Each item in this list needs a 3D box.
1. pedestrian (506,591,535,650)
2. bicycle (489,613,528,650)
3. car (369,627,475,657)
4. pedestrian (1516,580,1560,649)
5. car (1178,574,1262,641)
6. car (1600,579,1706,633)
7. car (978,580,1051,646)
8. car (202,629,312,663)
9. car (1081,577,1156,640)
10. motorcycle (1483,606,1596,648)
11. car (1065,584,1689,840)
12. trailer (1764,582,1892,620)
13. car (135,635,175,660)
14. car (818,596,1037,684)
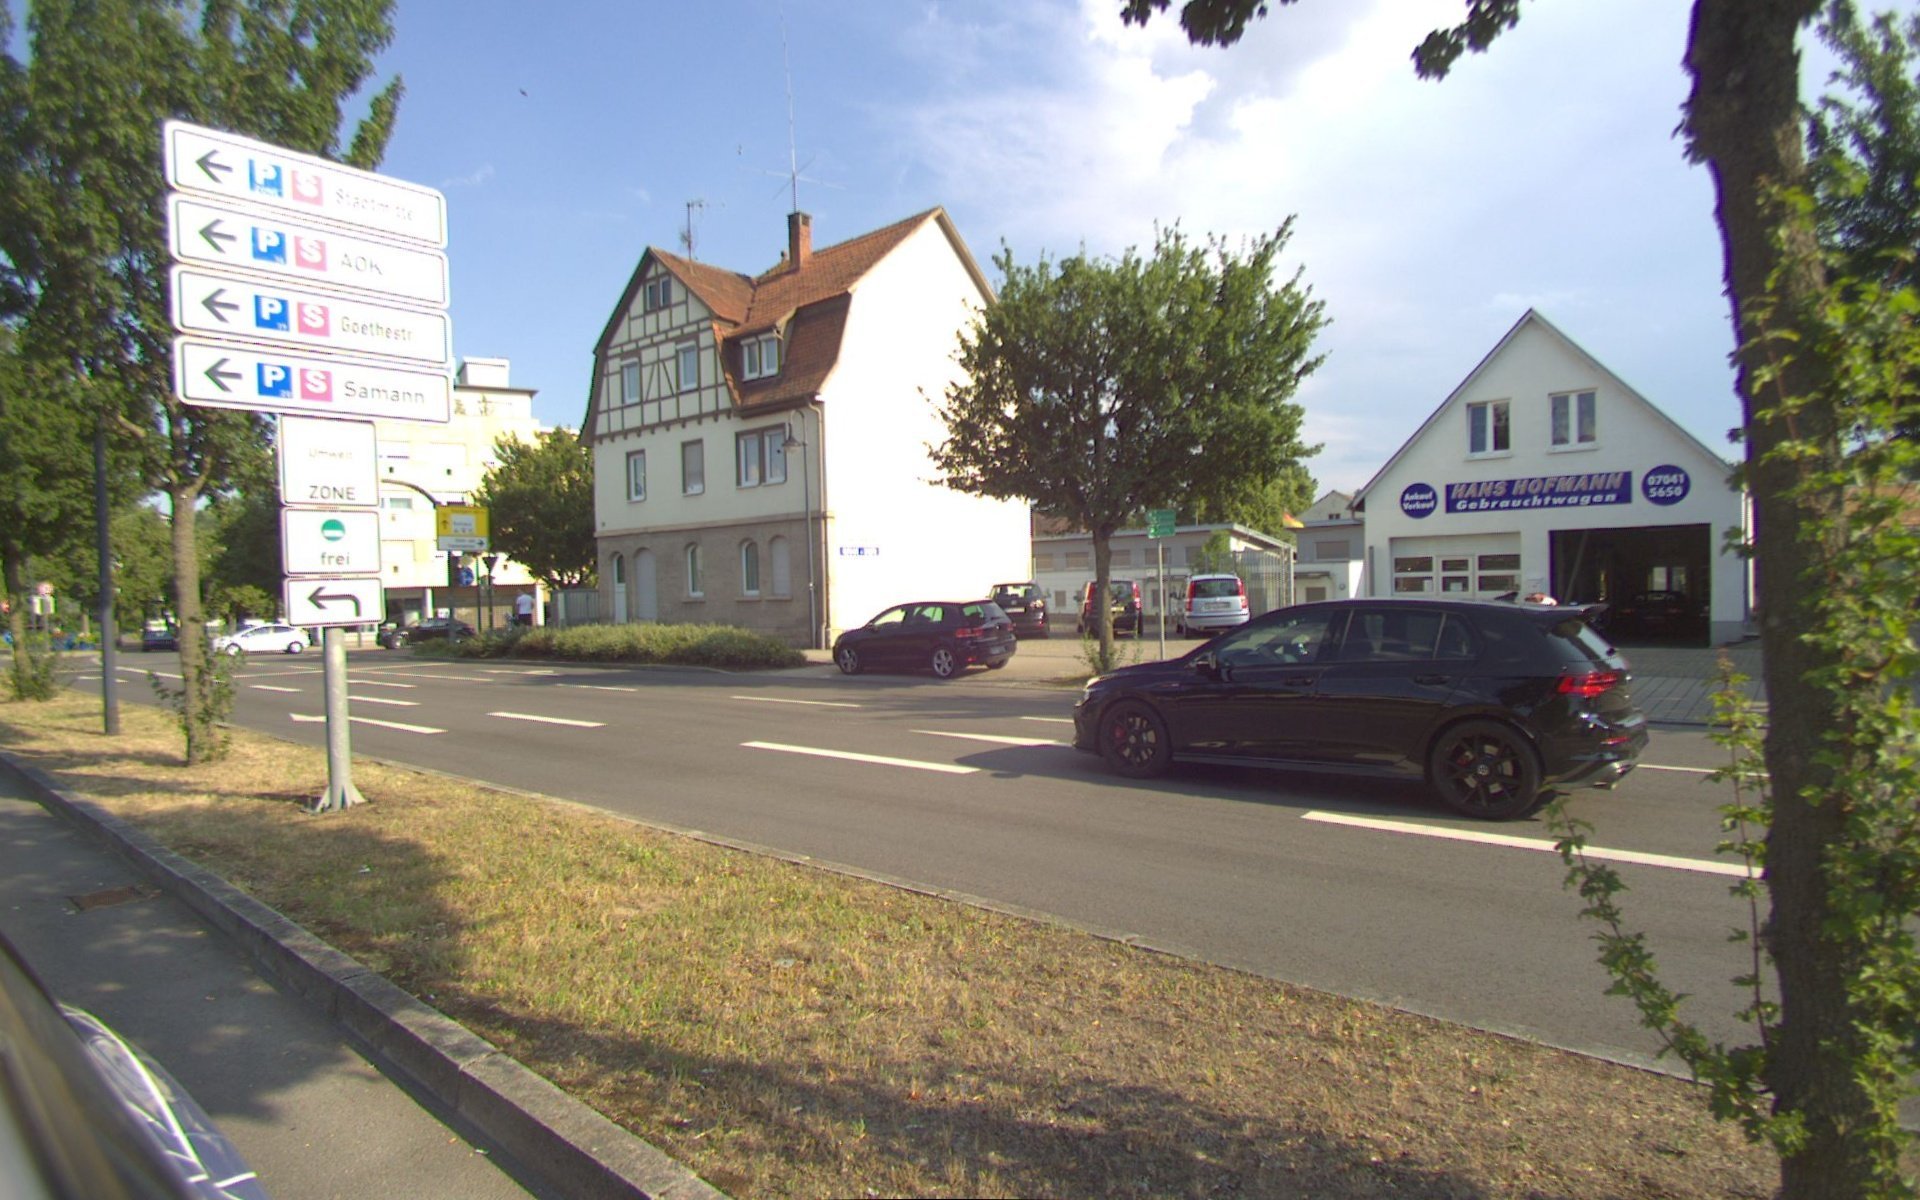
[{"bbox_3d":[-14.952,0.689,34.440,0.588,1.997,0.690,-1,0,42],"label":"pedestrian"},{"bbox_3d":[-15.678,1.083,35.095,1.514,1.231,0.672,-1,0,42],"label":"bicycle"},{"bbox_3d":[-27.979,2.152,52.736,4.595,1.364,1.770,-1,0,-41],"label":"car"},{"bbox_3d":[13.143,0.321,23.018,0.643,1.535,0.675,-1,0,-42],"label":"pedestrian"},{"bbox_3d":[6.534,0.172,25.796,1.748,1.563,3.987,-1,0,10],"label":"car"},{"bbox_3d":[19.611,0.142,28.580,1.886,1.395,4.026,-1,0,43],"label":"car"},{"bbox_3d":[1.558,0.301,27.806,1.746,1.563,3.993,-2,2,6],"label":"car"},{"bbox_3d":[-33.518,2.161,48.332,4.070,1.364,1.769,-1,0,-44],"label":"car"},{"bbox_3d":[4.200,0.208,27.321,1.746,1.563,3.992,-1,0,6],"label":"car"},{"bbox_3d":[13.435,0.627,23.528,2.211,0.927,0.500,-1,0,44],"label":"motorcycle"},{"bbox_3d":[3.012,0.663,7.803,4.105,1.462,1.751,-1,0,40],"label":"car"},{"bbox_3d":[23.494,0.015,27.529,2.448,0.831,3.153,-1,2,38],"label":"trailer"},{"bbox_3d":[-50.468,2.945,63.516,1.738,1.364,4.172,-1,0,-36],"label":"car"},{"bbox_3d":[-0.709,0.750,20.210,4.192,1.454,1.816,-1,3,41],"label":"car"}]
